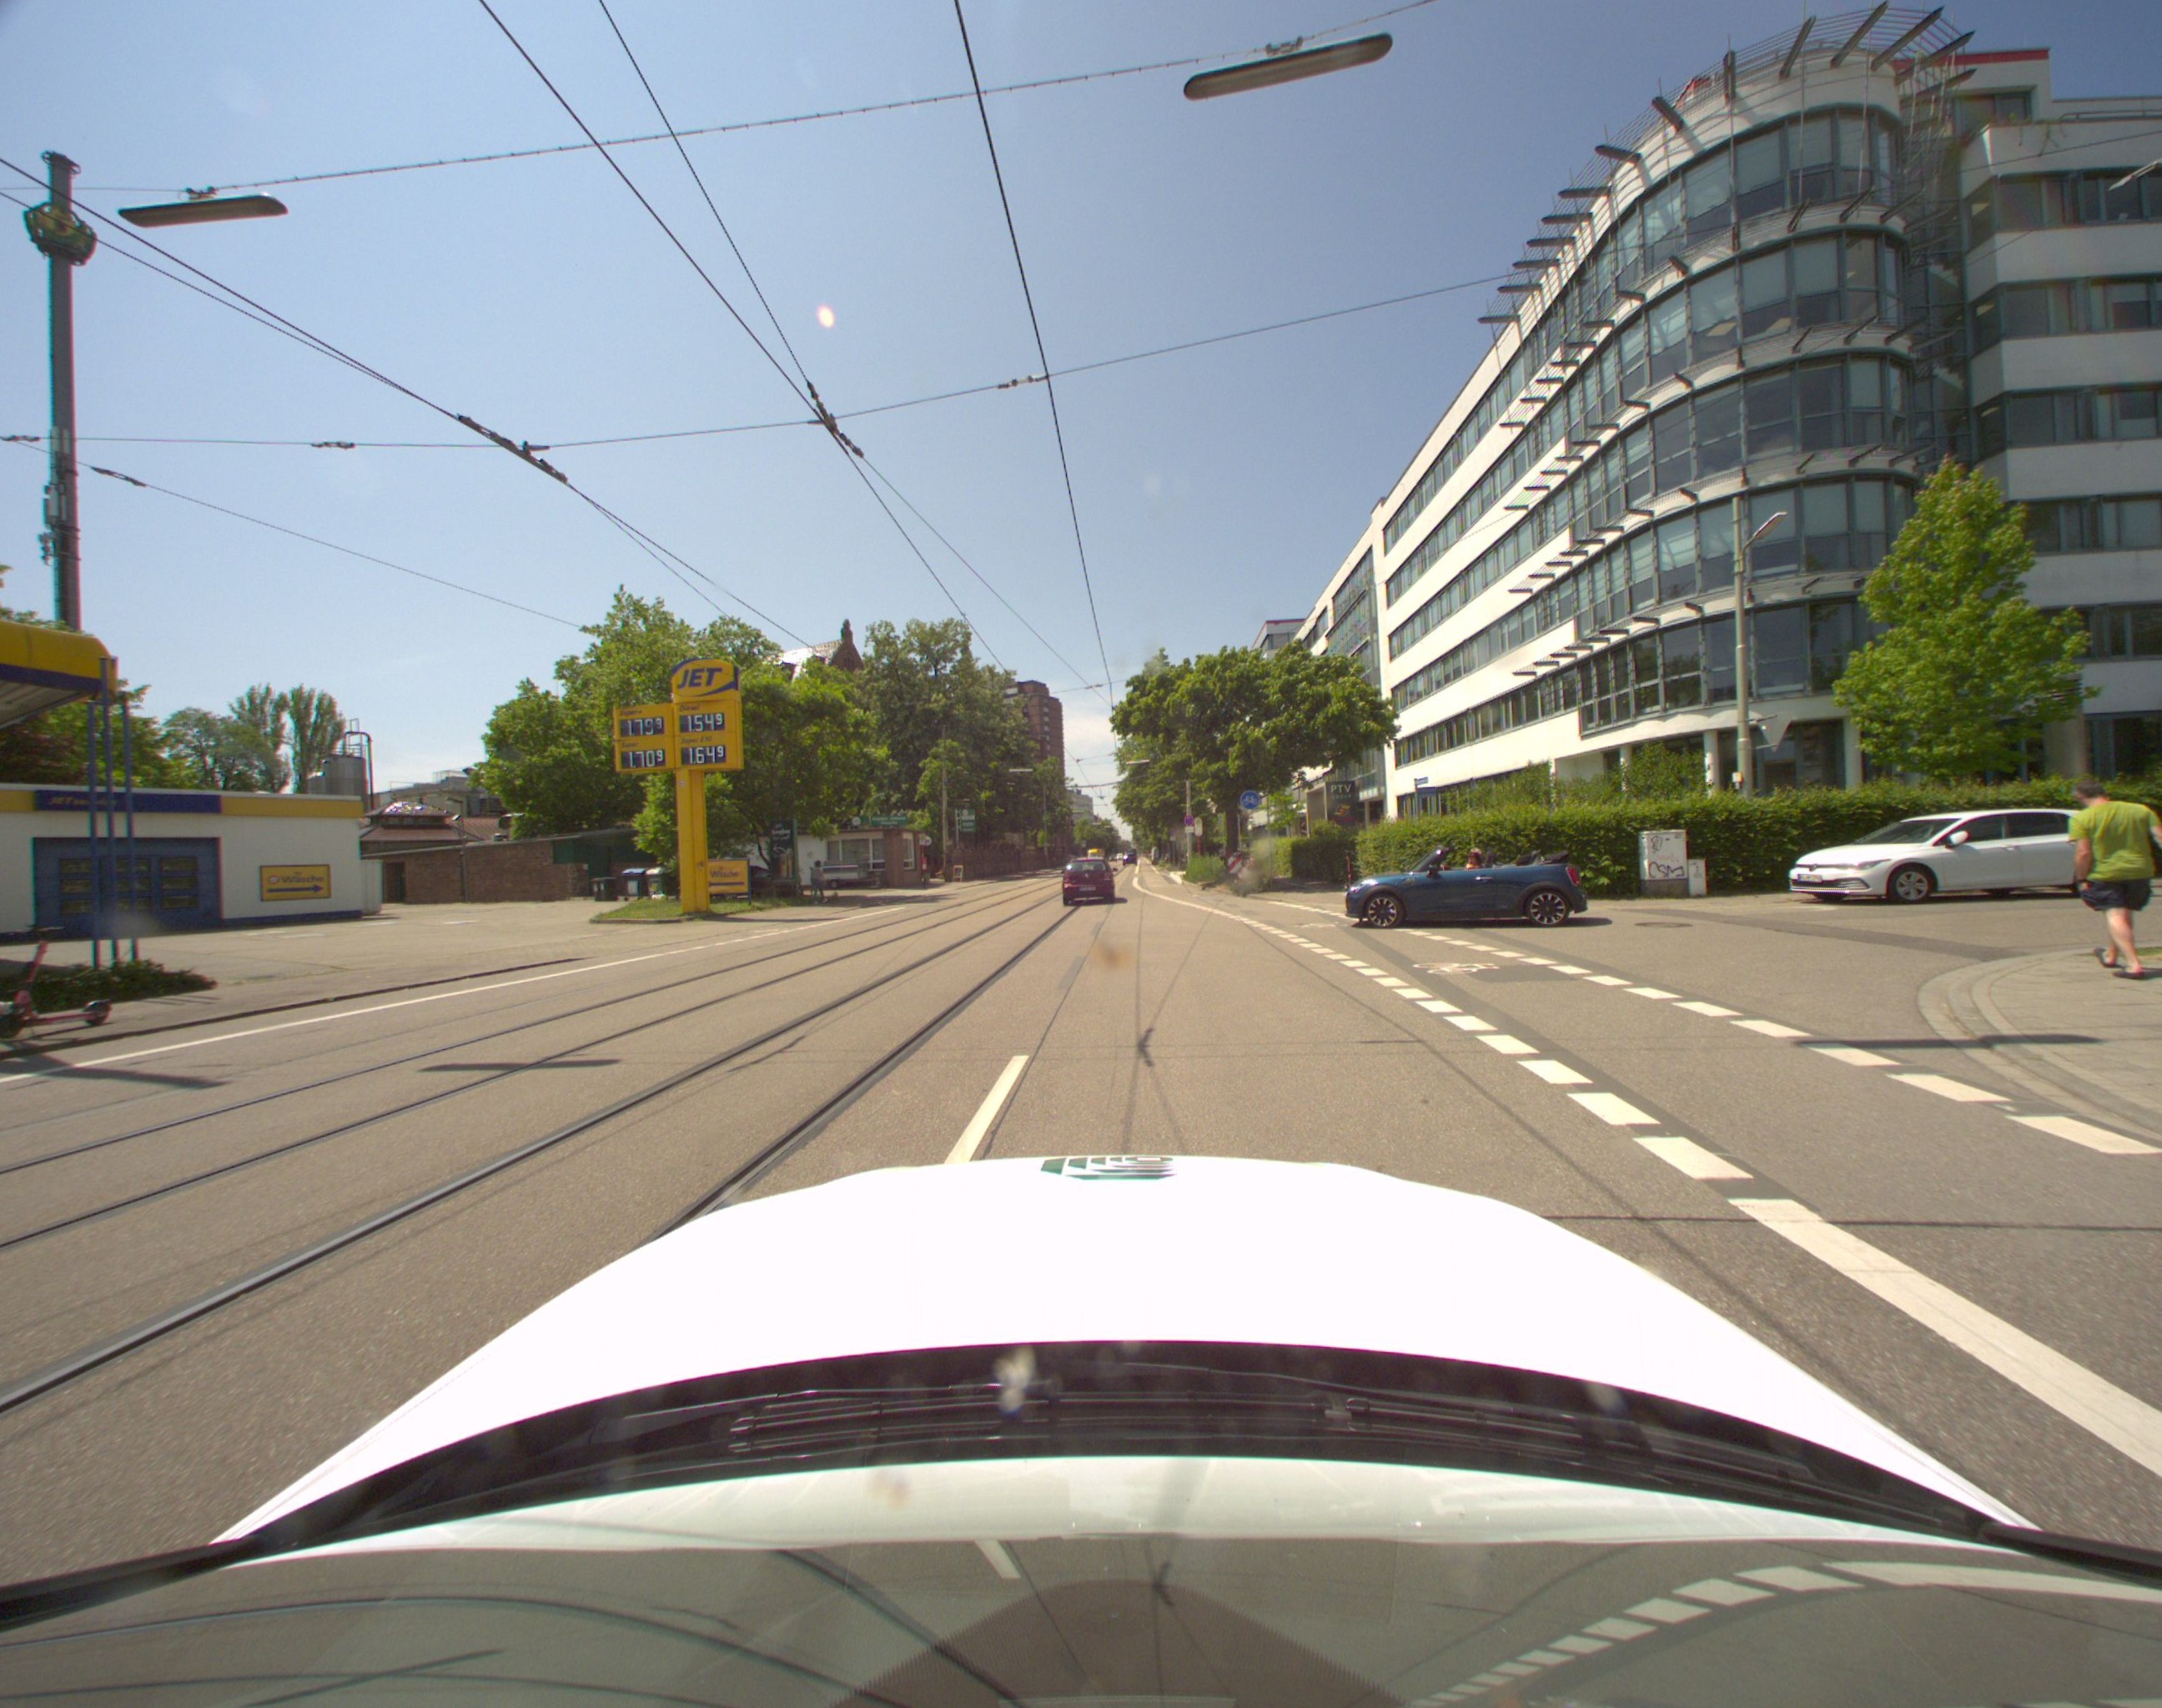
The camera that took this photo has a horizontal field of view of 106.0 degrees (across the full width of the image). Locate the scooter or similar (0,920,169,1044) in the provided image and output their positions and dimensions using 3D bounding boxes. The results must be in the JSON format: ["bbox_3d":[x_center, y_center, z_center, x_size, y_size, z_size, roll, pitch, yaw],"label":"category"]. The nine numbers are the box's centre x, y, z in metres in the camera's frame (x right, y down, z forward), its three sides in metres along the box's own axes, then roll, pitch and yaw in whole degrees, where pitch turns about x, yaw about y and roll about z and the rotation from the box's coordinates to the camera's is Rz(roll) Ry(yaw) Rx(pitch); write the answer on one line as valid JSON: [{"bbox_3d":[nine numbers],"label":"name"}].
[{"bbox_3d":[-11.562,1.428,9.387,0.517,1.200,1.377,-1,0,2],"label":"scooter or similar"}]

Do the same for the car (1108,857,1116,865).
[{"bbox_3d":[7.096,1.597,185.945,1.762,1.516,4.005,-3,0,4],"label":"car"}]

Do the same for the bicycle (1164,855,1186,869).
[{"bbox_3d":[8.711,0.773,75.516,1.875,1.182,0.695,-3,-1,3],"label":"bicycle"}]

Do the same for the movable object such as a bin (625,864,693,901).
[{"bbox_3d":[-18.387,1.235,35.528,1.506,1.509,2.112,-1,0,28],"label":"movable object such as a bin"}]

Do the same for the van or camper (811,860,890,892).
[{"bbox_3d":[-12.820,1.227,45.383,3.767,1.629,1.873,-1,1,4],"label":"van or camper"}]

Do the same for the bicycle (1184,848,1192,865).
[{"bbox_3d":[11.463,0.265,87.067,0.686,1.785,1.814,-4,-1,7],"label":"bicycle"}]

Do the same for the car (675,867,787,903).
[{"bbox_3d":[-16.513,1.423,38.562,1.911,1.488,4.478,-1,0,43],"label":"car"}]

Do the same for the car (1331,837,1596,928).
[{"bbox_3d":[6.518,0.515,14.092,3.877,1.372,1.714,-3,-1,28],"label":"car"}]

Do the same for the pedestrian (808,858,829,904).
[{"bbox_3d":[-10.398,1.058,32.243,0.578,1.775,0.700,-1,0,1],"label":"pedestrian"}]

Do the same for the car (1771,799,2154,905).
[{"bbox_3d":[14.490,-0.021,13.644,4.125,1.459,1.822,-3,0,7],"label":"car"}]

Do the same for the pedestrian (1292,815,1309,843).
[{"bbox_3d":[14.493,-1.651,53.790,0.868,1.715,1.093,-4,-1,10],"label":"pedestrian"}]

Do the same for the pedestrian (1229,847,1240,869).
[{"bbox_3d":[12.300,0.320,65.177,0.540,1.715,0.561,-3,-1,-25],"label":"pedestrian"}]

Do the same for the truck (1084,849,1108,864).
[{"bbox_3d":[2.961,0.436,159.605,2.350,2.787,7.356,-3,0,20],"label":"truck"}]

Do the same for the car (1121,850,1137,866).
[{"bbox_3d":[6.418,0.535,109.802,1.986,2.013,4.002,-1,0,2],"label":"car"}]

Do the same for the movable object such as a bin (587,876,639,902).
[{"bbox_3d":[-21.360,1.586,37.184,1.391,1.138,1.574,-1,0,28],"label":"movable object such as a bin"}]

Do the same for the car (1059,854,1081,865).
[{"bbox_3d":[-2.245,1.171,161.818,3.964,2.013,2.005,-3,0,8],"label":"car"}]

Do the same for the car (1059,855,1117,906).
[{"bbox_3d":[0.305,0.809,26.667,1.612,1.486,4.004,-3,0,3],"label":"car"}]

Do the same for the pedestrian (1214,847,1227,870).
[{"bbox_3d":[11.184,0.333,65.245,0.681,1.796,0.668,-4,-1,-27],"label":"pedestrian"}]

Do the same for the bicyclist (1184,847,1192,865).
[{"bbox_3d":[11.465,0.210,87.076,0.693,1.799,0.889,-4,-1,7],"label":"bicyclist"}]

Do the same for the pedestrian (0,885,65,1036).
[{"bbox_3d":[-12.564,1.231,9.449,0.621,1.691,0.724,-2,0,10],"label":"pedestrian"}]

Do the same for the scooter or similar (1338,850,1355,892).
[{"bbox_3d":[7.841,0.487,24.046,0.323,1.222,1.158,-1,0,25],"label":"scooter or similar"}]

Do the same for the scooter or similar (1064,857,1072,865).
[{"bbox_3d":[-2.146,1.154,134.777,1.091,1.155,0.524,-1,0,-17],"label":"scooter or similar"}]

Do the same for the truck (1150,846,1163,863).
[{"bbox_3d":[12.720,0.089,137.138,1.985,2.662,4.880,-1,0,4],"label":"truck"}]

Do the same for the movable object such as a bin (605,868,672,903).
[{"bbox_3d":[-19.694,1.385,36.317,1.506,1.432,2.112,-1,0,28],"label":"movable object such as a bin"}]

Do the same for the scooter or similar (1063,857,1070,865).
[{"bbox_3d":[-2.363,1.142,132.228,1.091,1.155,0.524,-1,0,-17],"label":"scooter or similar"}]

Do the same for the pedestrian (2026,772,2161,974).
[{"bbox_3d":[9.010,0.151,7.165,0.725,1.667,0.845,-2,0,39],"label":"pedestrian"}]

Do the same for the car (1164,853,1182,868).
[{"bbox_3d":[9.907,0.718,87.967,1.681,1.503,3.631,-4,-1,4],"label":"car"}]

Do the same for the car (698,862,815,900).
[{"bbox_3d":[-14.461,1.163,36.467,1.911,1.488,4.478,-1,0,44],"label":"car"}]
